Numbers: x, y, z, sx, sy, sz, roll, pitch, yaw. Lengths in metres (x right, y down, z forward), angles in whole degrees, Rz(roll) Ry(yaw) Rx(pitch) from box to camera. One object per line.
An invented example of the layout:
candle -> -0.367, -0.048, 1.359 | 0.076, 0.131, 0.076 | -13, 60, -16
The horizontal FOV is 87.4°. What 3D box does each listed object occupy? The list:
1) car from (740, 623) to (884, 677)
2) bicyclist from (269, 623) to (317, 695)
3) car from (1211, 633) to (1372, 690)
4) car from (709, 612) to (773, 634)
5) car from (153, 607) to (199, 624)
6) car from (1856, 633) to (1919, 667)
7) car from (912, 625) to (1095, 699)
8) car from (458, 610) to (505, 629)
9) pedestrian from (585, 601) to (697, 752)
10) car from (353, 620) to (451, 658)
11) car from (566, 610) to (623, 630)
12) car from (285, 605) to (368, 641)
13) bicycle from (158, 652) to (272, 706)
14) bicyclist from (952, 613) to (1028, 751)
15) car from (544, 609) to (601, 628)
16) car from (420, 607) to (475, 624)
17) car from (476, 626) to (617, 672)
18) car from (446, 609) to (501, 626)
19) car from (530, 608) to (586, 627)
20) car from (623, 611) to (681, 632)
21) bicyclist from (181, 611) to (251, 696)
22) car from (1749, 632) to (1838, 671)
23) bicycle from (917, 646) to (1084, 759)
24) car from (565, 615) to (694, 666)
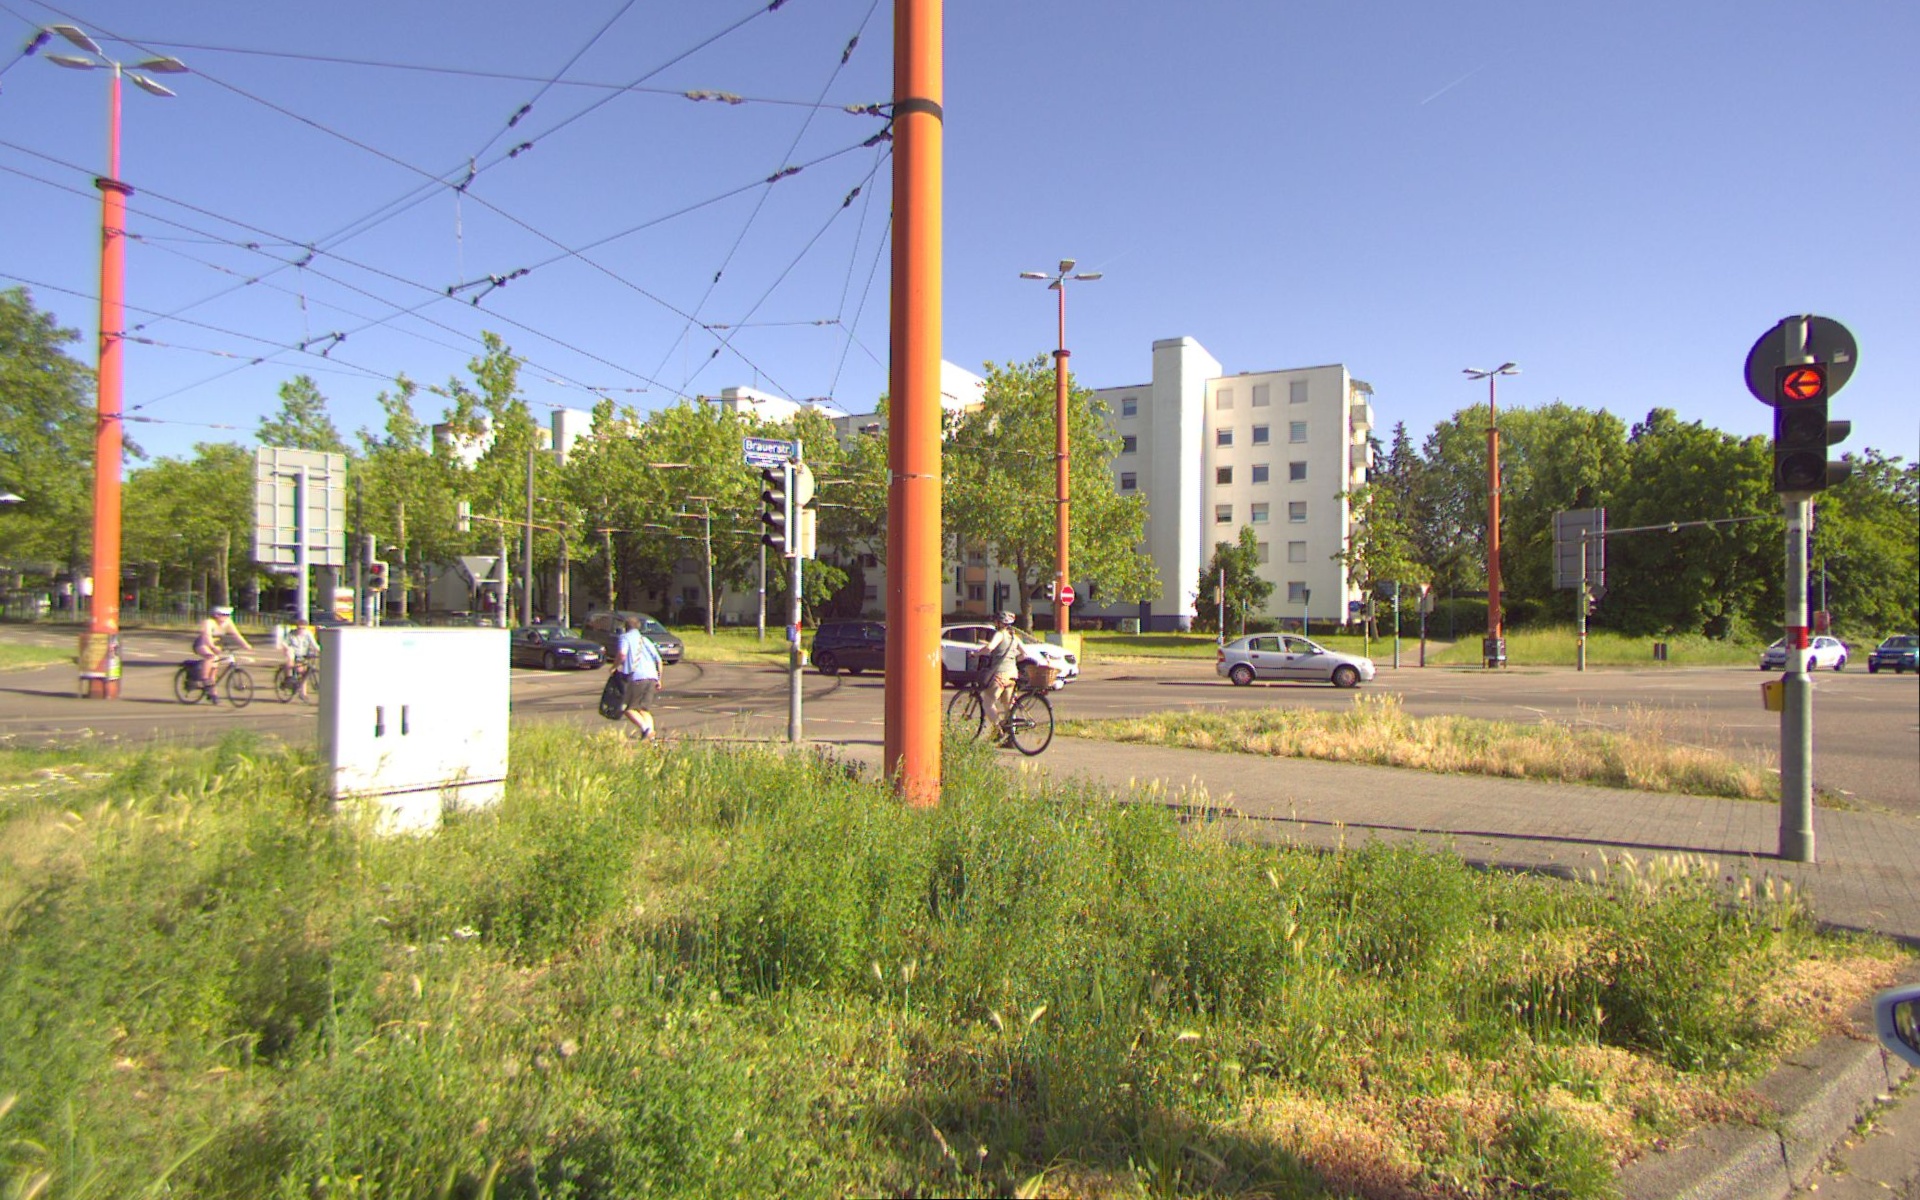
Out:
car -> -4.689, 1.550, 31.916 | 4.180, 1.566, 1.857 | 0, -1, 24
bicyclist -> -13.203, 1.156, 19.889 | 0.616, 1.399, 0.443 | 1, -1, -1
car -> 8.691, 1.587, 26.589 | 3.919, 1.363, 1.488 | 0, -1, 15
car -> -14.547, 1.554, 66.830 | 1.770, 1.428, 3.987 | 0, -1, 35
car -> -93.999, 1.887, 120.435 | 1.969, 2.040, 3.984 | 0, -1, 38
car -> 37.154, 1.963, 39.615 | 3.571, 1.260, 1.730 | 1, -1, -31
car -> 1.083, 1.483, 25.044 | 4.172, 1.658, 1.828 | 0, -1, 24
car -> -36.397, 1.451, 76.381 | 3.941, 1.416, 1.748 | 0, -1, 41
pedestrian -> -4.041, 0.931, 12.736 | 0.972, 1.817, 0.951 | 0, -1, 36
car -> -21.846, 1.492, 39.271 | 4.293, 1.368, 1.759 | 0, -1, 37
car -> -27.583, 1.490, 75.907 | 3.934, 1.428, 1.794 | 1, -1, -16
car -> -31.113, 1.124, 49.315 | 4.233, 1.730, 1.847 | 0, -1, 33
bicycle -> -14.061, 1.487, 18.974 | 1.612, 0.974, 0.685 | 1, -1, -1
bicyclist -> 0.371, 0.960, 12.120 | 0.651, 1.605, 0.671 | 0, -1, 33
car -> -30.082, 1.422, 78.061 | 3.934, 1.428, 1.794 | 1, -1, -16
car -> -44.797, 1.392, 87.880 | 3.935, 1.428, 1.794 | 1, -1, -17
car -> -13.394, 1.553, 32.517 | 4.280, 1.368, 1.764 | 0, -1, 24
car -> -41.442, 1.490, 85.610 | 3.935, 1.428, 1.794 | 1, -1, -17
car -> -31.944, 1.373, 79.958 | 3.935, 1.428, 1.794 | 1, -1, -17
car -> -22.261, 1.551, 72.633 | 3.934, 1.428, 1.794 | 1, -1, -16
bicyclist -> -14.048, 0.993, 18.990 | 0.752, 1.565, 0.732 | 1, -1, -1
car -> 35.412, 2.147, 42.639 | 3.891, 1.552, 1.752 | 1, -1, -31
bicycle -> 0.469, 1.187, 12.045 | 1.915, 1.210, 0.690 | 0, -1, 33
car -> -11.811, 1.410, 35.946 | 4.225, 1.730, 1.851 | 0, -1, 24
